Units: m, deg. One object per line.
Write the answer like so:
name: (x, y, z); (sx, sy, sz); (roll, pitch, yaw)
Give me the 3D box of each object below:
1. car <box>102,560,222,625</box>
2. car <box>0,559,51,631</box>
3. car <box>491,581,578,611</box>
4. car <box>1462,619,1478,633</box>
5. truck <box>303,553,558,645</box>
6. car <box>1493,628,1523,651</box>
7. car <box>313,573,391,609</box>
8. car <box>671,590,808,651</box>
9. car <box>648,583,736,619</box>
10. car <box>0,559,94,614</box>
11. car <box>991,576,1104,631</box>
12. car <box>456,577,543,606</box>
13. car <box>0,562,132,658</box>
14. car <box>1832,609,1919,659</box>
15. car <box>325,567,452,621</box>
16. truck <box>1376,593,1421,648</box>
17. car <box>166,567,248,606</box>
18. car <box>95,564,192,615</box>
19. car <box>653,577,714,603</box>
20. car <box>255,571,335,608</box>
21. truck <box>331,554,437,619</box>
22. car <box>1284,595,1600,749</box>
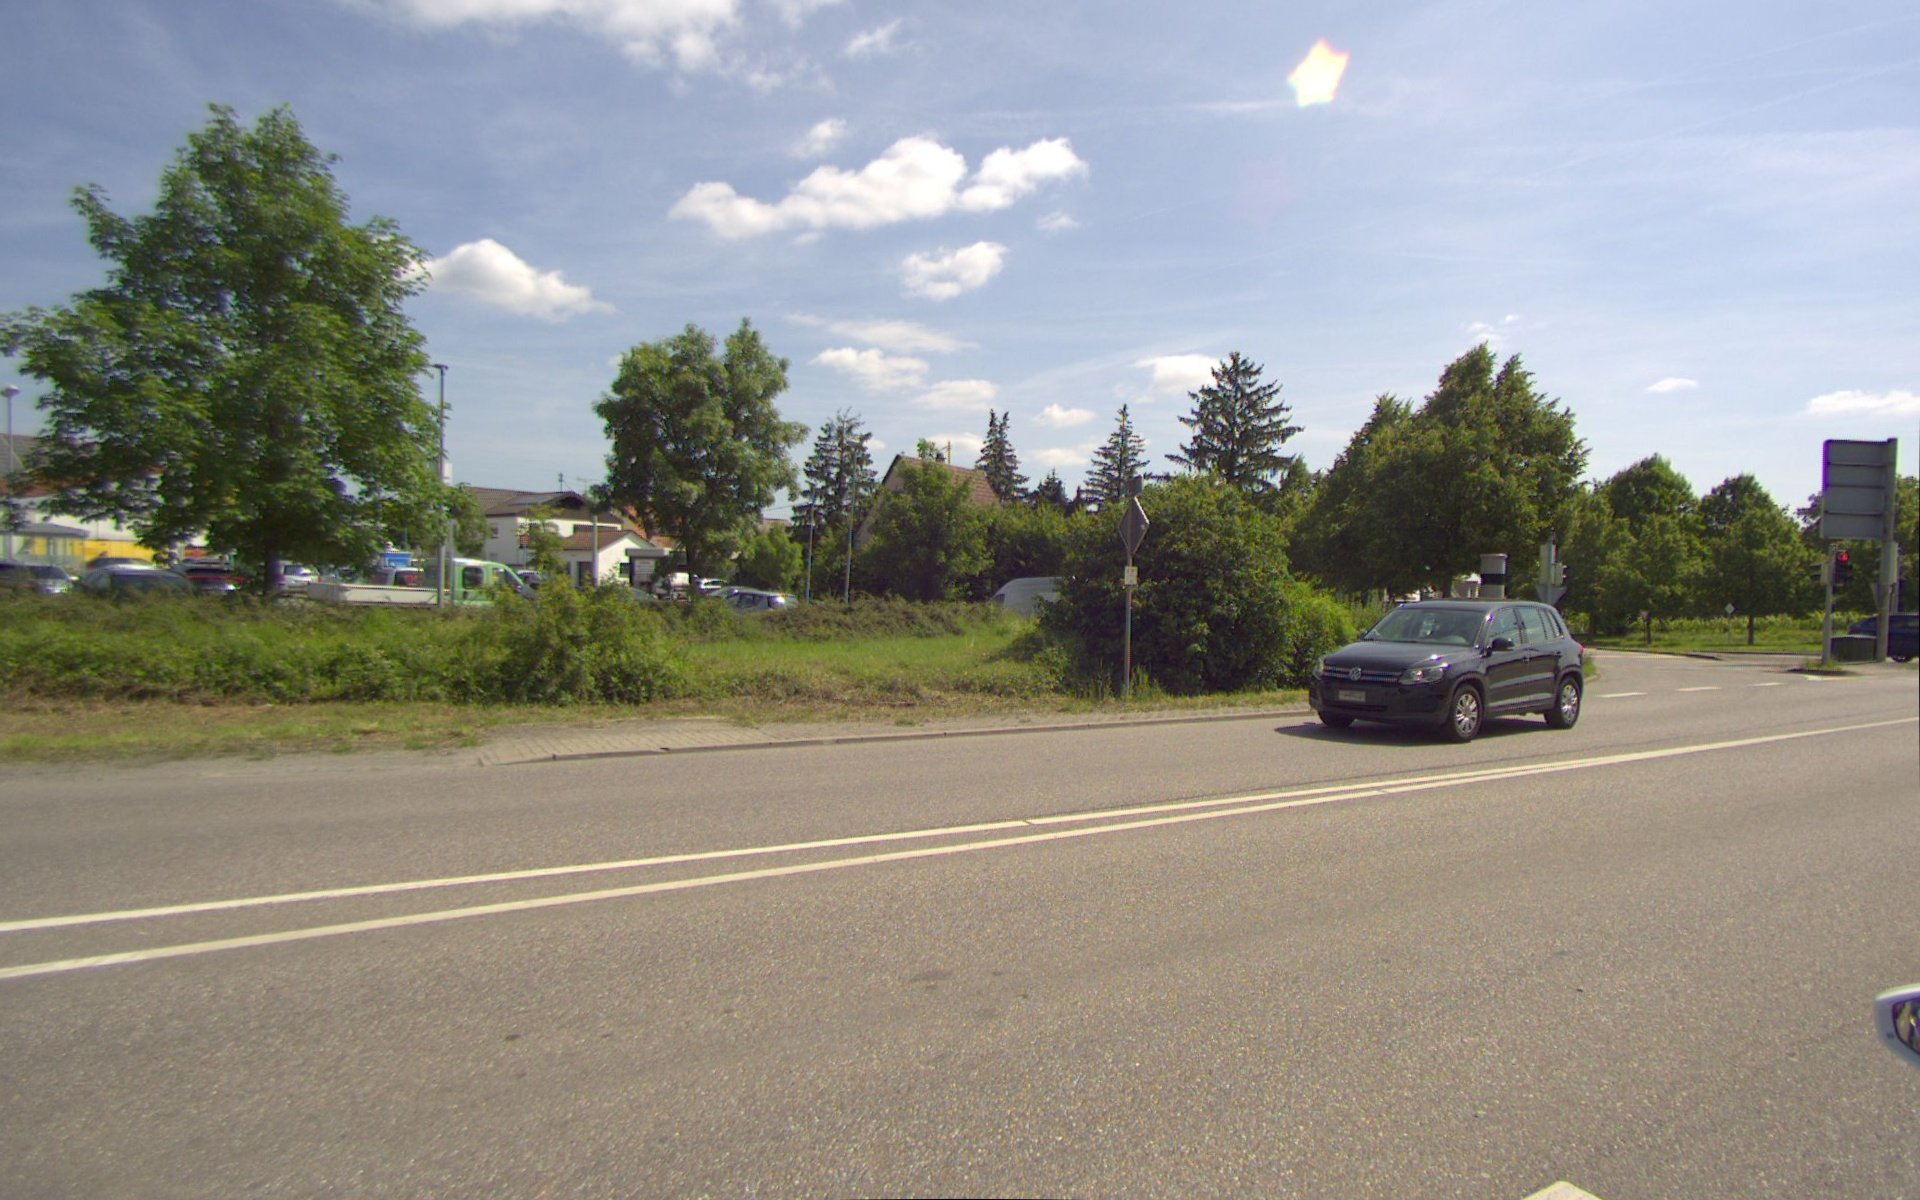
car: (-22.832, -0.211, 28.691); (3.939, 1.711, 1.918); (2, 0, 40)
car: (-24.788, -0.177, 25.571); (3.939, 1.697, 1.903); (3, 1, 40)
car: (-24.535, -0.198, 57.983); (1.849, 1.562, 4.243); (2, 0, 37)
car: (68.473, 3.453, 134.876); (1.728, 1.773, 3.993); (2, 0, 29)
truck: (-15.375, -0.001, 29.625); (2.212, 2.407, 6.328); (1, 0, 36)
car: (39.312, 2.811, 72.106); (1.508, 1.511, 4.006); (2, 0, 23)
car: (-28.995, -0.430, 47.832); (4.193, 1.562, 1.871); (2, 0, 40)
car: (-7.065, 0.637, 32.208); (3.928, 1.751, 1.997); (2, 0, 29)
car: (-13.568, 0.061, 51.031); (1.883, 1.662, 3.984); (2, 0, 38)
car: (-28.210, -0.425, 30.754); (3.936, 1.549, 1.772); (2, 0, 37)
car: (3.774, 0.142, 43.823); (4.524, 2.209, 1.992); (2, 1, 37)
car: (-27.113, -0.486, 59.238); (1.849, 1.562, 4.243); (2, 0, 37)
car: (-17.541, 0.160, 19.469); (3.941, 1.679, 1.686); (2, 0, 42)
car: (28.918, 1.038, 29.856); (1.713, 1.448, 4.267); (2, 0, -15)
car: (-19.301, -0.215, 33.900); (4.353, 1.717, 1.994); (1, 0, 34)
truck: (33.282, 1.548, 76.055); (2.891, 3.848, 7.921); (2, 0, 25)
car: (-32.384, -0.582, 43.178); (4.193, 1.562, 1.871); (2, 0, 40)
car: (-26.495, -0.352, 32.568); (3.941, 1.549, 1.770); (2, 0, 41)
car: (-20.160, -0.724, 73.425); (1.866, 1.782, 3.988); (2, 0, 35)
car: (-30.272, -0.507, 45.689); (4.193, 1.562, 1.871); (2, 0, 40)
truck: (-22.324, -0.534, 38.930); (3.932, 2.397, 1.994); (2, 0, 34)
car: (6.146, 0.794, 12.638); (4.228, 1.619, 1.791); (1, 0, -36)
